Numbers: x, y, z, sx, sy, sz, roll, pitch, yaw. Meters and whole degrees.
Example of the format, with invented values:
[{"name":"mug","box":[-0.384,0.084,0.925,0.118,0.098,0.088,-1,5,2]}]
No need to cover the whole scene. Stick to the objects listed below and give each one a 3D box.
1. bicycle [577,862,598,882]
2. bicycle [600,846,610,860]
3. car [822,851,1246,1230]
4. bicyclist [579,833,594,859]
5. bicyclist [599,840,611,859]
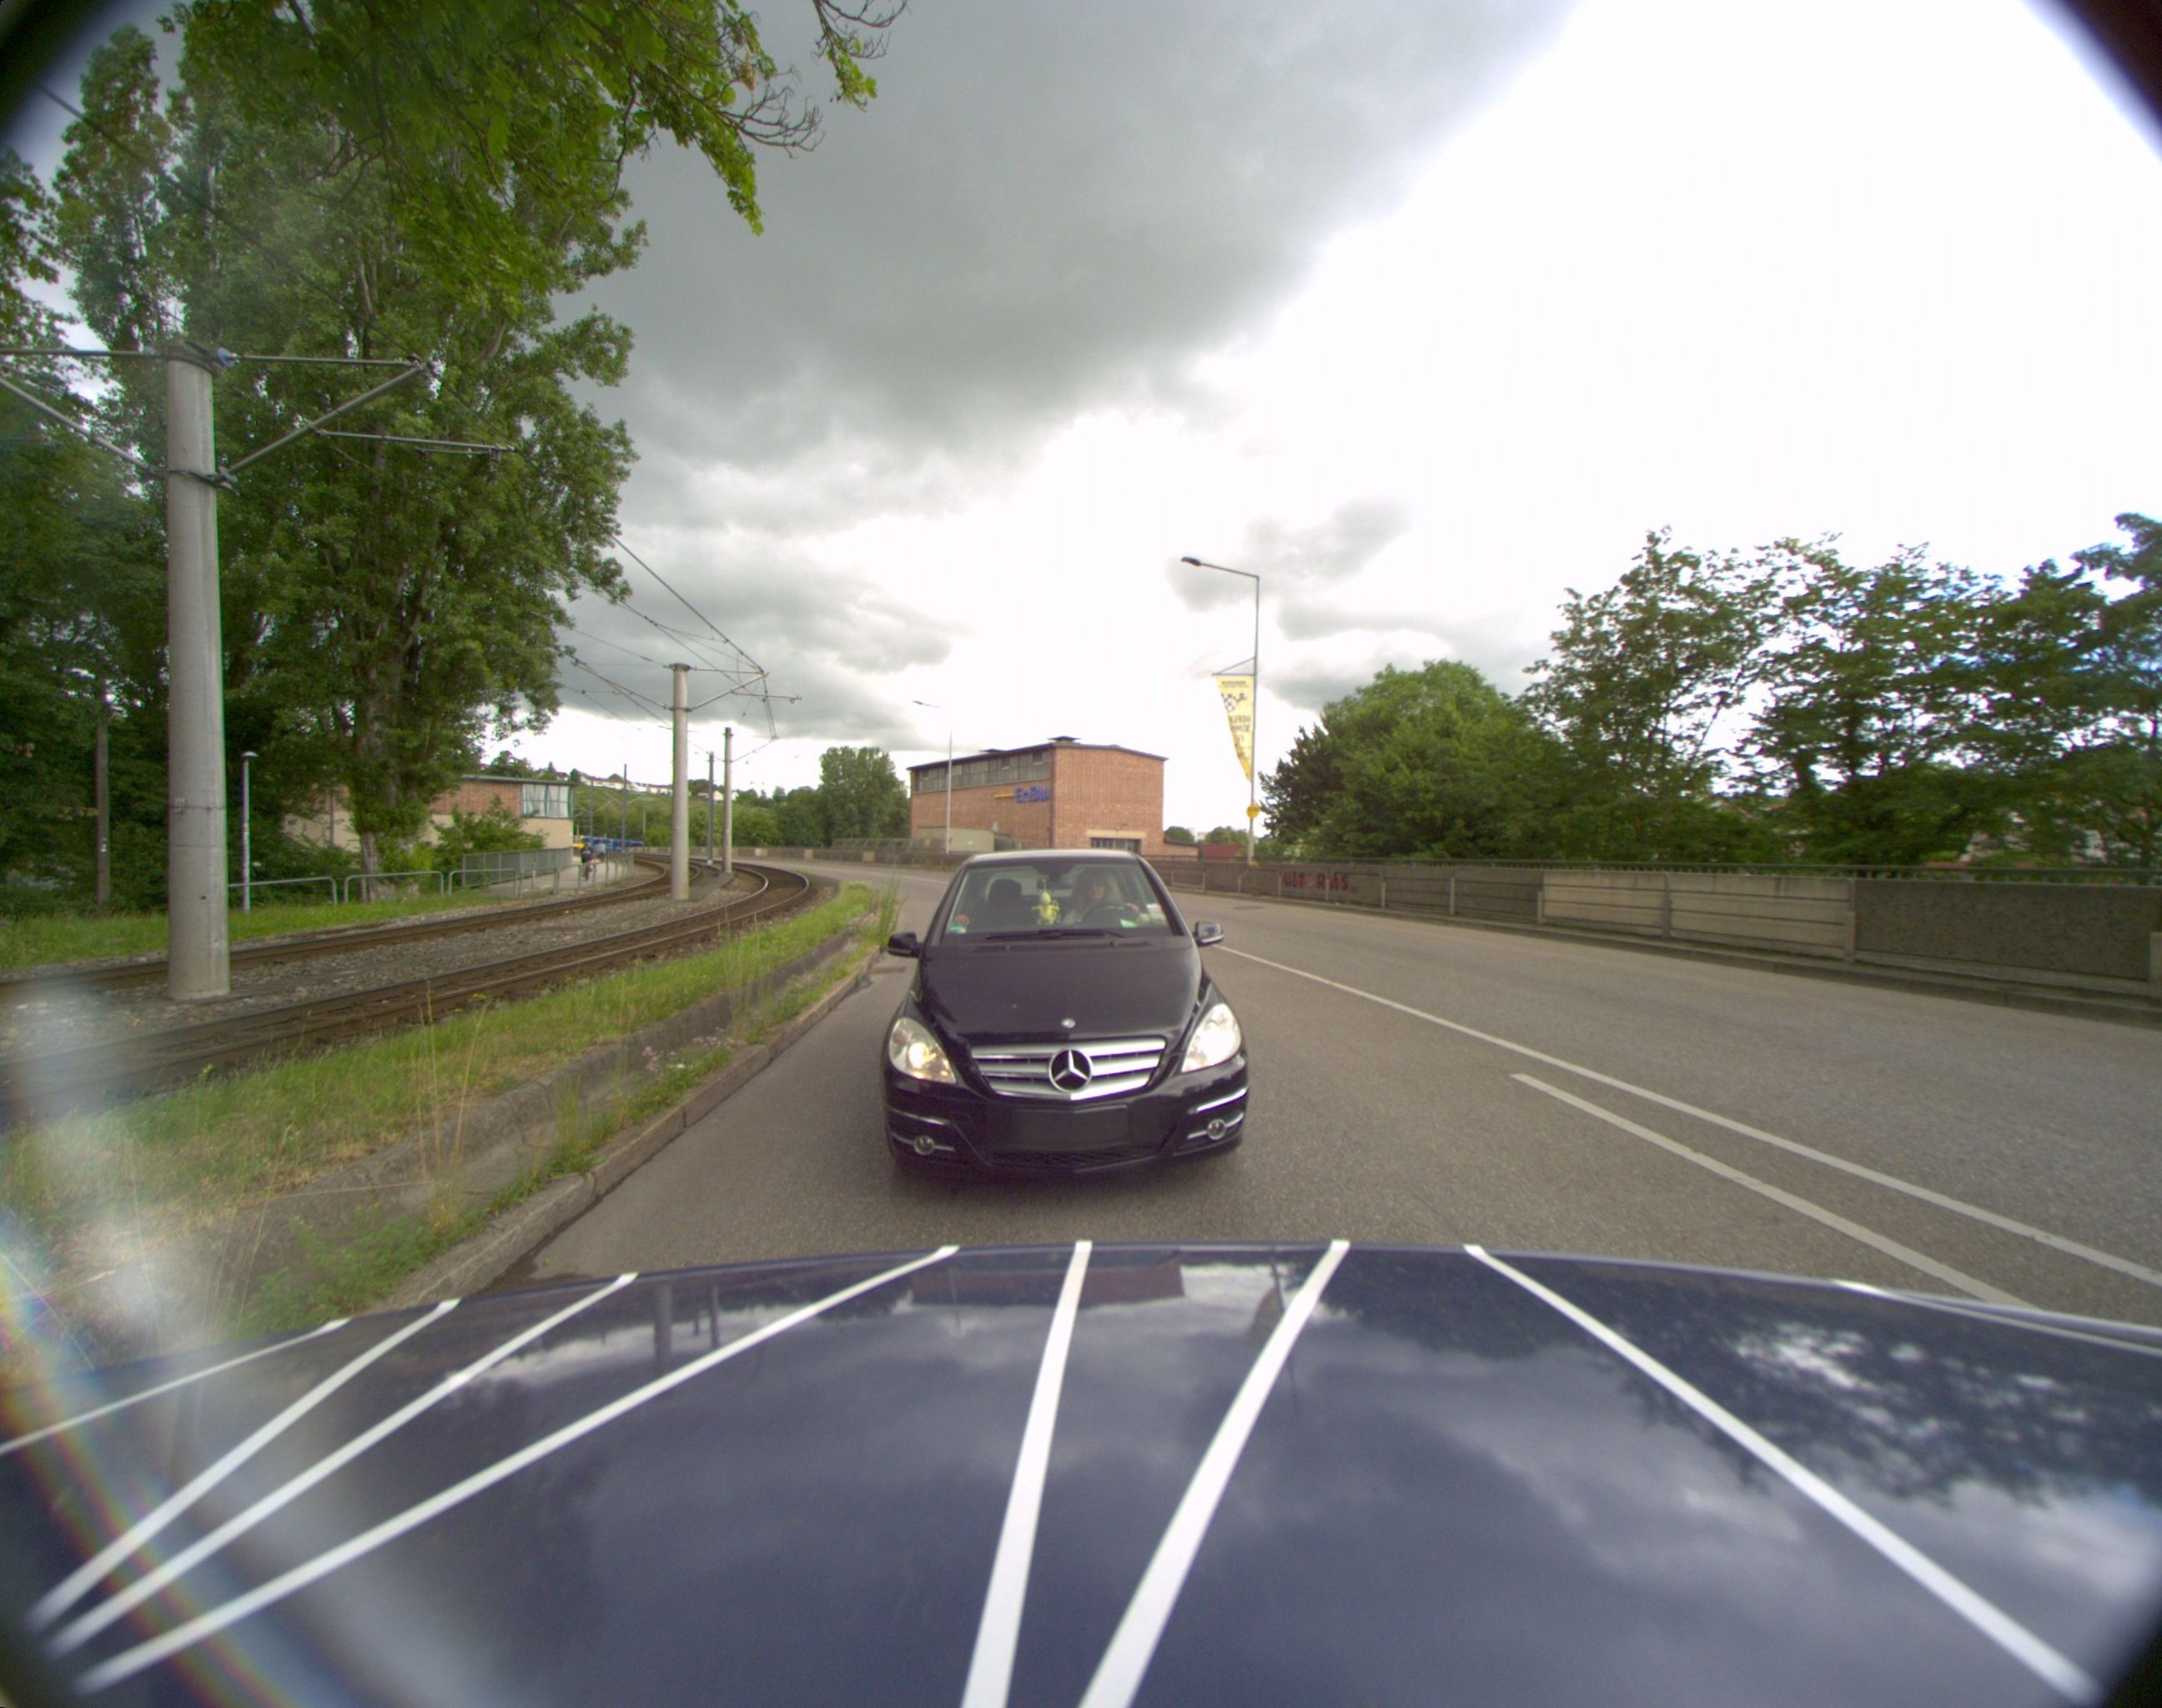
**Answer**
[{"name":"bicycle","box":[-20.472,0.728,31.530,0.348,0.790,1.545,0,0,-19]},{"name":"bicycle","box":[-34.659,-0.065,55.365,0.428,1.044,2.074,-2,1,-36]},{"name":"car","box":[-0.229,0.828,5.361,1.861,1.612,3.999,0,1,-1]},{"name":"bicyclist","box":[-20.477,-0.330,31.480,0.418,1.077,0.473,0,1,-20]},{"name":"bicyclist","box":[-34.647,-0.349,55.319,0.596,1.352,0.908,-2,1,-36]}]
